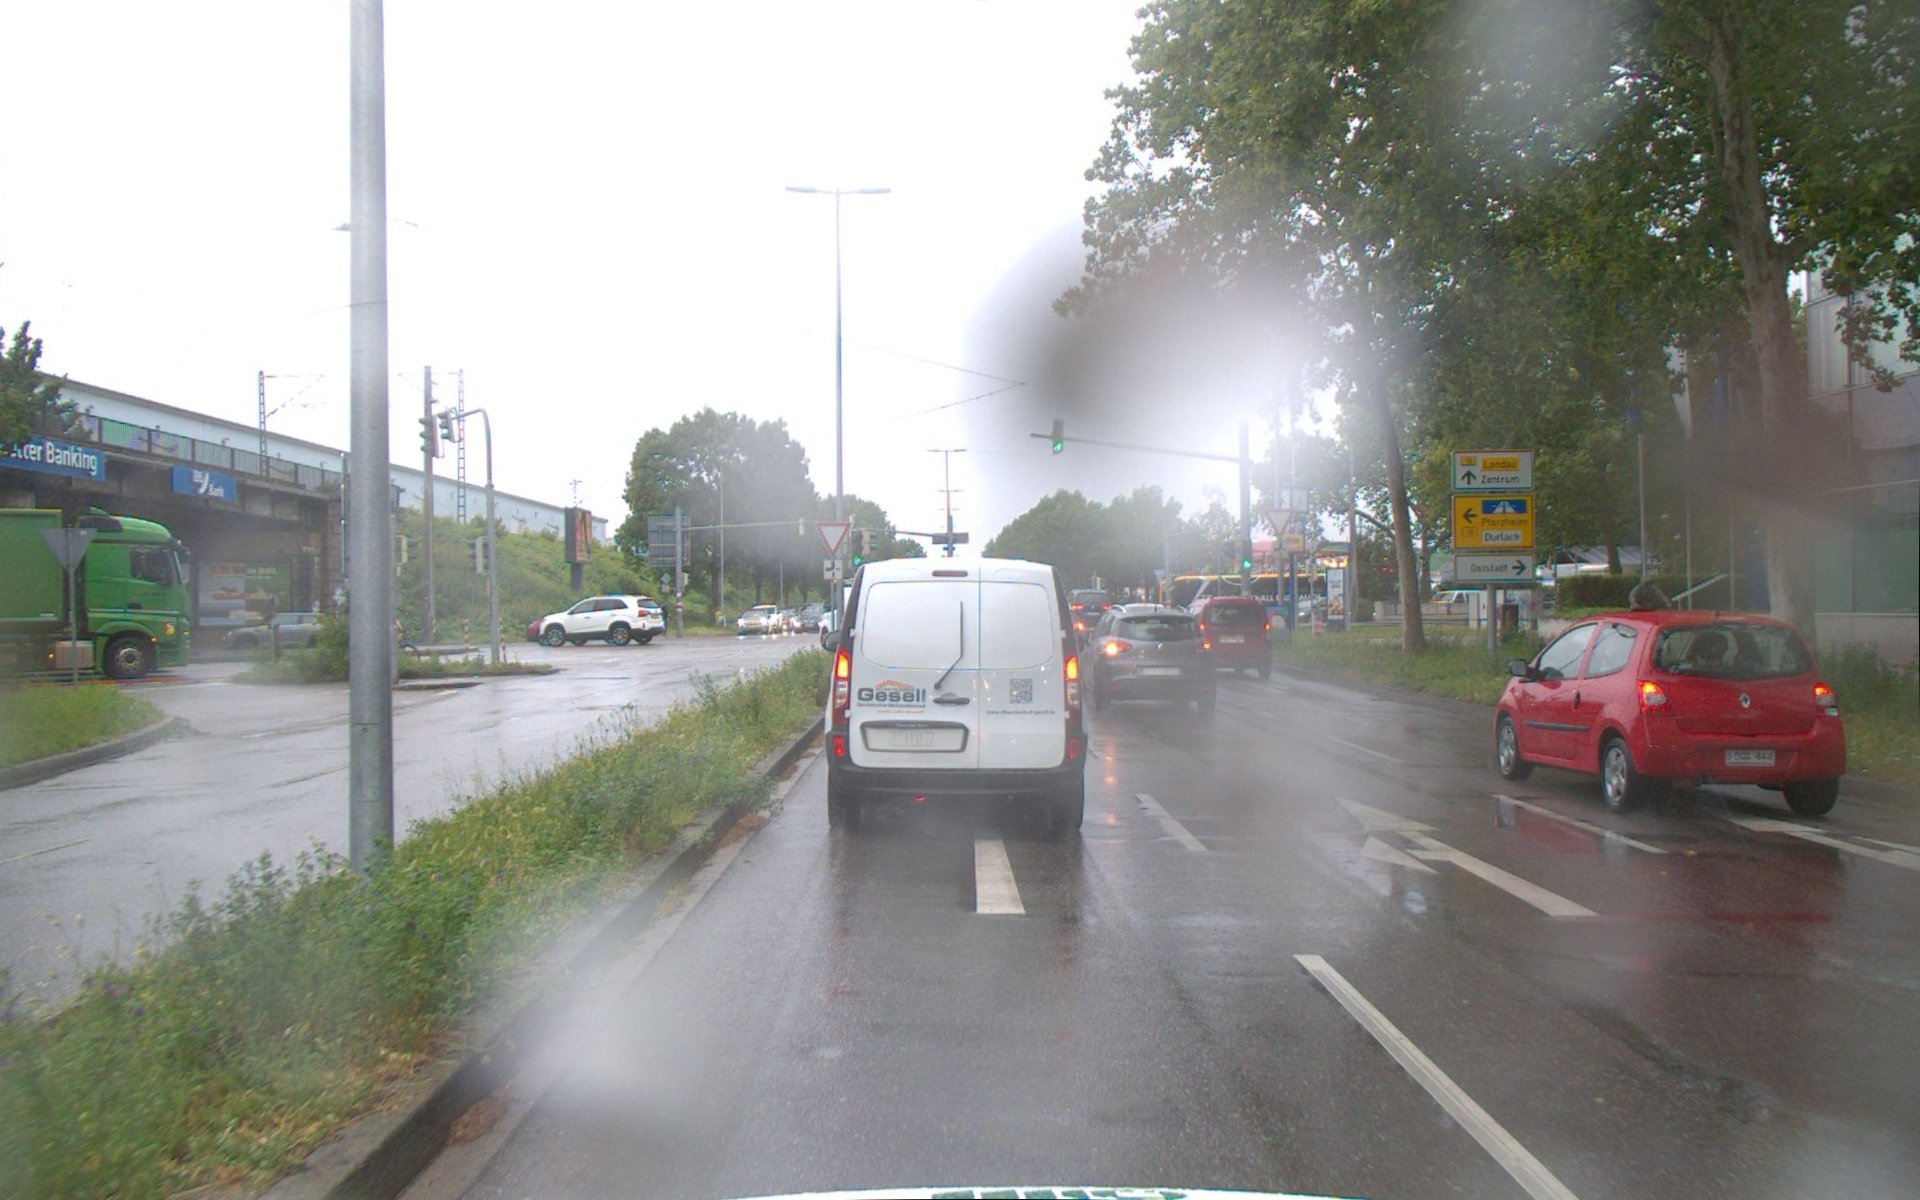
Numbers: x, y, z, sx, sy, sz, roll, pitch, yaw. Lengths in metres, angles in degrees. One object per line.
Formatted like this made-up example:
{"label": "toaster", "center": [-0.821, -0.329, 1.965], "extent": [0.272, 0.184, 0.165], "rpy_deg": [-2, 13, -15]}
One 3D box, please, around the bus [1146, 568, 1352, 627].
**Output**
{"label": "bus", "center": [17.674, -0.141, 101.683], "extent": [12.001, 3.325, 3.274], "rpy_deg": [-1, 0, -1]}

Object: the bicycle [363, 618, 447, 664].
{"label": "bicycle", "center": [-13.650, 0.997, 40.704], "extent": [1.885, 1.114, 0.688], "rpy_deg": [0, 0, -28]}

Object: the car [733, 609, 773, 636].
{"label": "car", "center": [-11.467, 1.232, 91.660], "extent": [1.854, 1.373, 3.998], "rpy_deg": [-1, 0, -3]}

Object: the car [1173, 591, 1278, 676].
{"label": "car", "center": [5.564, 0.668, 35.005], "extent": [1.599, 1.684, 3.484], "rpy_deg": [1, 0, -1]}

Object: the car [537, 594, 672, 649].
{"label": "car", "center": [-12.856, 0.774, 59.849], "extent": [4.334, 1.878, 2.001], "rpy_deg": [-1, 0, 18]}

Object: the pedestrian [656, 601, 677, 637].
{"label": "pedestrian", "center": [-14.415, 0.934, 81.334], "extent": [0.983, 1.749, 0.818], "rpy_deg": [-1, 0, -9]}

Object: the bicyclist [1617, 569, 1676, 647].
{"label": "bicyclist", "center": [14.216, 0.173, 34.264], "extent": [0.789, 1.541, 0.751], "rpy_deg": [-3, -1, -4]}

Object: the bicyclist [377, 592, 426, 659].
{"label": "bicyclist", "center": [-13.731, 0.632, 40.658], "extent": [1.032, 1.621, 0.797], "rpy_deg": [1, -1, -29]}

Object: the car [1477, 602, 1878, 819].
{"label": "car", "center": [5.597, 0.778, 13.402], "extent": [1.644, 1.517, 3.620], "rpy_deg": [0, 0, -1]}

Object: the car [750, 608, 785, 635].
{"label": "car", "center": [-11.385, 1.245, 98.050], "extent": [1.791, 1.508, 3.997], "rpy_deg": [-1, 0, -3]}

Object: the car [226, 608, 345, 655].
{"label": "car", "center": [-23.793, 1.085, 58.430], "extent": [3.833, 1.543, 1.796], "rpy_deg": [-1, 0, -23]}

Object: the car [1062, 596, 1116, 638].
{"label": "car", "center": [5.197, 0.662, 67.004], "extent": [1.952, 1.601, 4.001], "rpy_deg": [-1, 0, 1]}

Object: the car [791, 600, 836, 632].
{"label": "car", "center": [-8.294, 0.888, 93.684], "extent": [1.980, 1.686, 4.063], "rpy_deg": [-1, 0, 3]}

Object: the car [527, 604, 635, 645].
{"label": "car", "center": [-15.057, 0.964, 65.889], "extent": [3.906, 1.529, 1.771], "rpy_deg": [-1, 0, -2]}

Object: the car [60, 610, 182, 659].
{"label": "car", "center": [-29.713, 1.190, 58.599], "extent": [3.794, 1.600, 1.848], "rpy_deg": [-1, 0, -30]}

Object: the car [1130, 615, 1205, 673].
{"label": "car", "center": [6.248, 1.301, 50.156], "extent": [1.805, 1.646, 4.000], "rpy_deg": [1, 0, 0]}

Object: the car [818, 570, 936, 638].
{"label": "car", "center": [-2.641, 0.108, 51.565], "extent": [1.969, 1.990, 4.781], "rpy_deg": [-2, 1, -26]}

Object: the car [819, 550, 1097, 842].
{"label": "car", "center": [-0.034, 0.602, 12.333], "extent": [1.720, 1.808, 3.999], "rpy_deg": [0, 0, -1]}

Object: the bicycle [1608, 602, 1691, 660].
{"label": "bicycle", "center": [14.251, 0.620, 34.258], "extent": [0.728, 1.123, 2.076], "rpy_deg": [-3, 0, -3]}

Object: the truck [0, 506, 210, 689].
{"label": "truck", "center": [-22.466, -0.022, 36.946], "extent": [10.085, 4.018, 2.653], "rpy_deg": [-1, 0, -37]}

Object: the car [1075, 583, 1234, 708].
{"label": "car", "center": [2.746, 0.619, 24.156], "extent": [1.805, 1.646, 3.999], "rpy_deg": [1, 0, -1]}

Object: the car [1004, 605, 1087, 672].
{"label": "car", "center": [2.230, 0.983, 44.142], "extent": [1.799, 1.684, 3.997], "rpy_deg": [1, 0, -3]}
